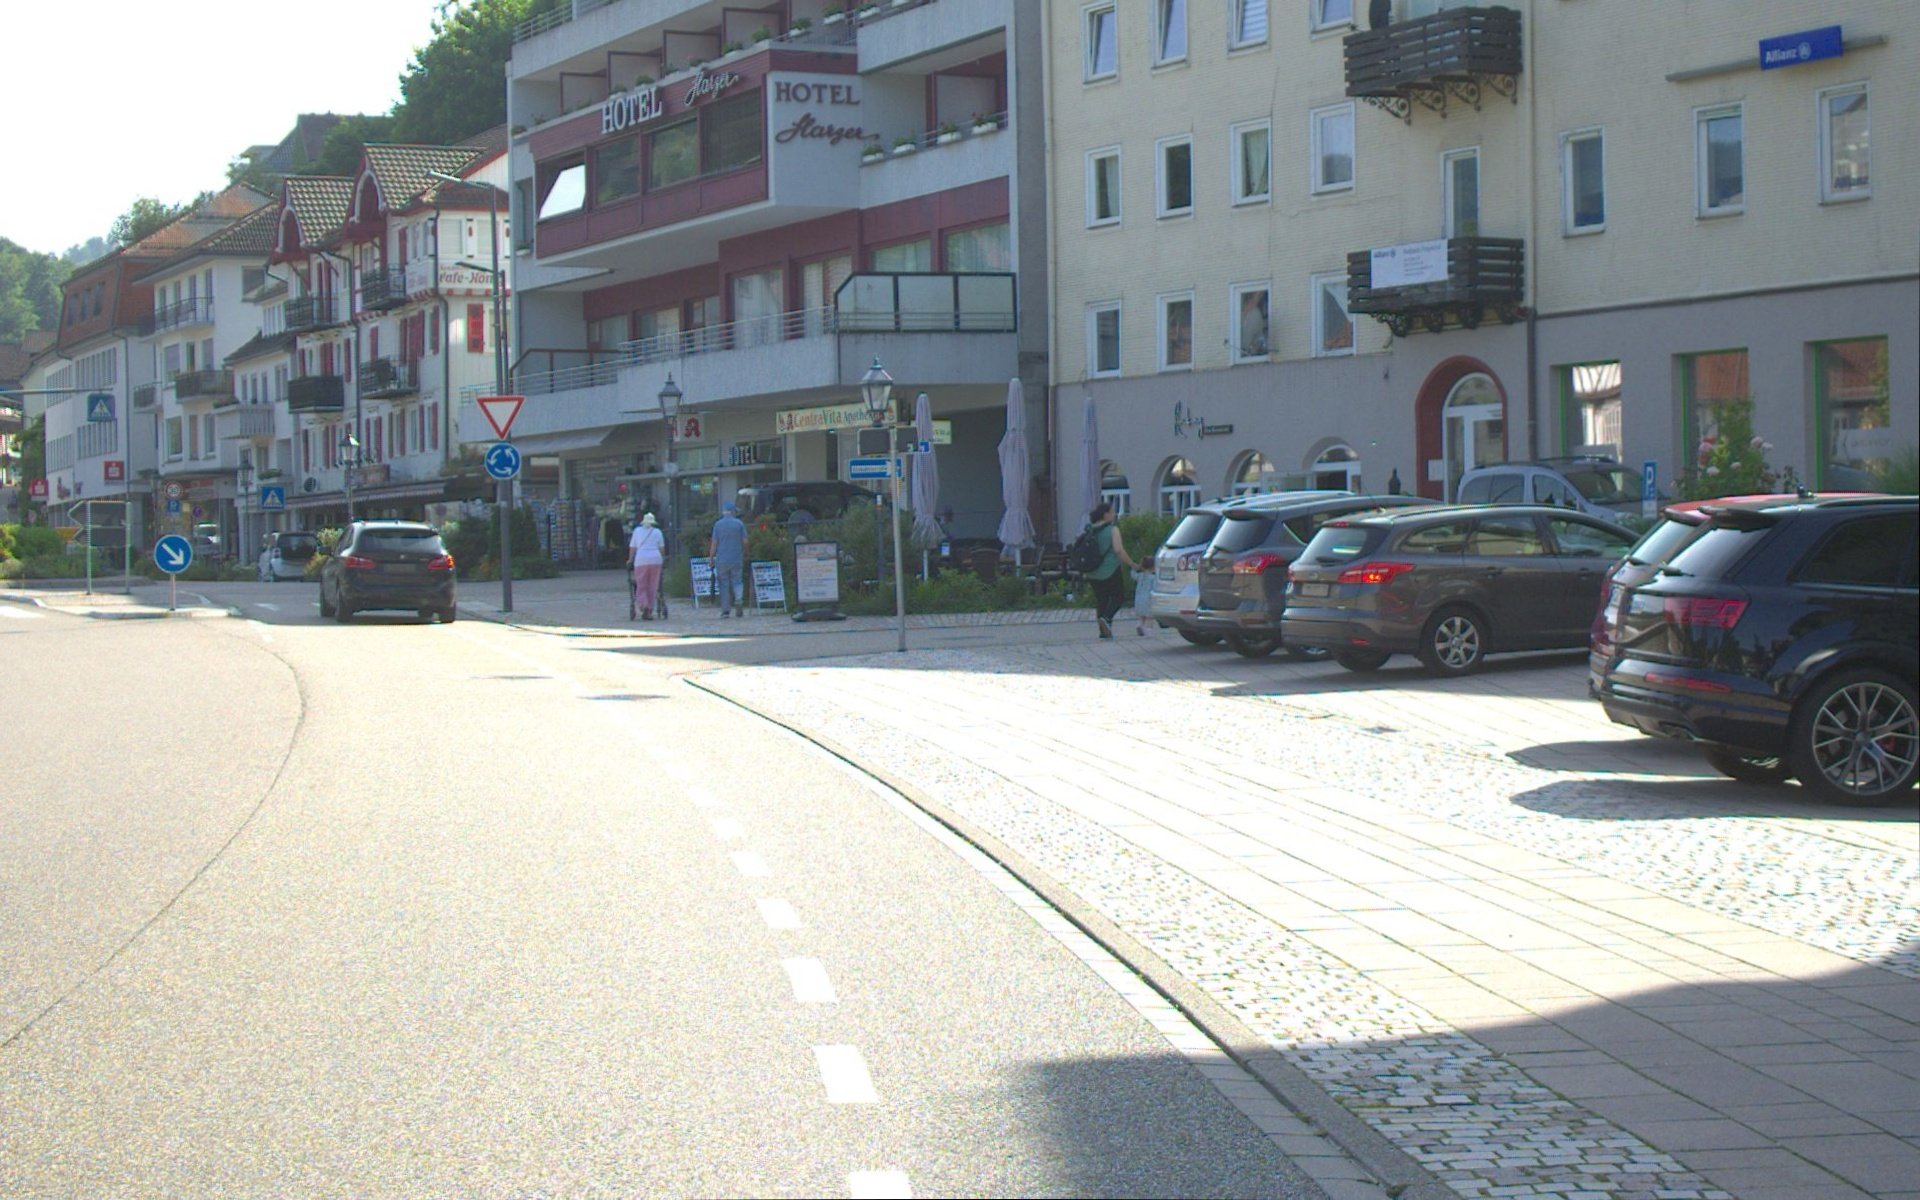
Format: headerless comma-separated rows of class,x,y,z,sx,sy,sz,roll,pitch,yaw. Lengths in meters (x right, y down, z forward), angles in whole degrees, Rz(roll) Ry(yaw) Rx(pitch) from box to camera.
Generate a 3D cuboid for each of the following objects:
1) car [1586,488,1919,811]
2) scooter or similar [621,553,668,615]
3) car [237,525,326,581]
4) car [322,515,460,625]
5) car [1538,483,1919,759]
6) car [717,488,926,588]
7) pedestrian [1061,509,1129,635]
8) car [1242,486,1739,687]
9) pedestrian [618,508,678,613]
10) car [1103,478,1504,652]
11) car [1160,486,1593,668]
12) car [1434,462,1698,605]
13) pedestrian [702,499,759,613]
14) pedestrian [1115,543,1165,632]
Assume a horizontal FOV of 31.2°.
car,5.724,0.296,19.158,4.084,1.660,1.773,2,1,0
scooter or similar,-4.844,-0.253,52.782,0.596,0.947,0.474,-1,1,-23
car,-19.956,-1.383,101.009,1.676,1.615,4.001,-1,1,-25
car,-8.883,-0.499,53.452,1.727,1.569,3.754,-1,3,-15
car,6.011,0.140,23.032,3.909,1.695,1.773,2,2,0
car,-2.343,-1.055,57.977,3.162,1.657,1.595,-1,1,-20
pedestrian,1.579,-0.335,40.318,0.735,1.437,0.633,-3,1,2
car,4.765,-0.166,30.946,4.009,1.511,1.773,-4,3,-20
pedestrian,-4.774,-0.608,52.613,0.757,1.588,0.628,-1,1,-23
car,3.706,-0.409,37.187,3.860,1.607,1.773,-4,3,-20
car,4.156,-0.269,34.385,3.860,1.544,1.773,-4,3,-20
car,8.901,-1.019,50.726,1.857,2.006,3.678,-1,3,-31
pedestrian,-3.490,-0.674,52.288,0.668,1.723,0.708,-1,1,-23
pedestrian,2.106,-0.147,40.115,0.417,0.998,0.530,-2,1,18
